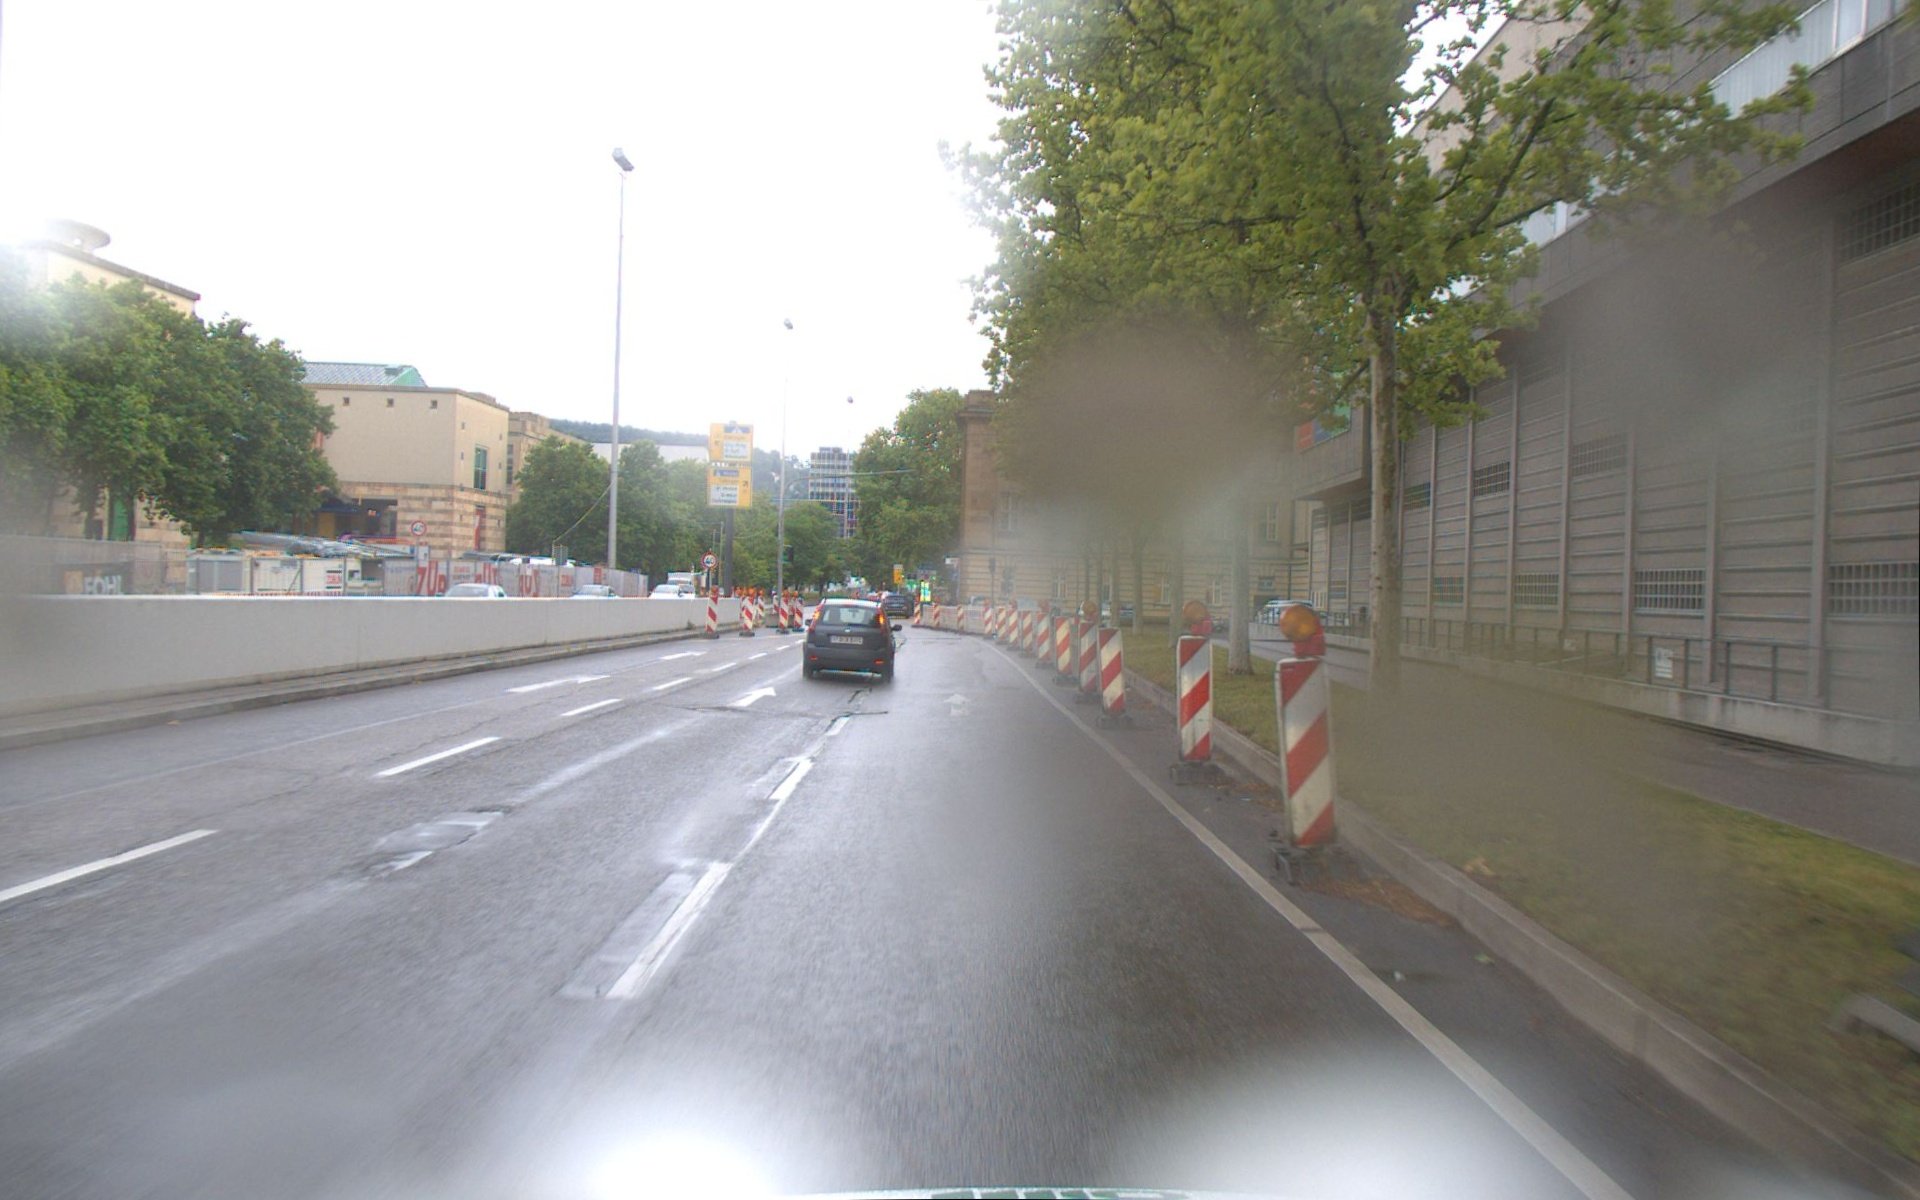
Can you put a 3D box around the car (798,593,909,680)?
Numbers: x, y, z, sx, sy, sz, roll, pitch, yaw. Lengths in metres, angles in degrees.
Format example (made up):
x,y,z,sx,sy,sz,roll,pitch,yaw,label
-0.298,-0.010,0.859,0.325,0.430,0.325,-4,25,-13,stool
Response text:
x,y,z,sx,sy,sz,roll,pitch,yaw,label
-1.942,0.649,31.060,1.635,1.452,3.758,3,0,2,car

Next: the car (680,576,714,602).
x,y,z,sx,sy,sz,roll,pitch,yaw,label
-17.456,-0.744,109.980,1.635,1.548,4.000,4,2,-2,car

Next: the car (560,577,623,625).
x,y,z,sx,sy,sz,roll,pitch,yaw,label
-16.995,0.014,76.478,1.953,2.048,3.999,3,0,-1,car

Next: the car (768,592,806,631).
x,y,z,sx,sy,sz,roll,pitch,yaw,label
-6.578,0.427,63.088,1.358,1.411,3.064,1,0,-5,car

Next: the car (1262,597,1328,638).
x,y,z,sx,sy,sz,roll,pitch,yaw,label
15.421,0.832,76.377,1.953,1.790,5.096,1,-1,0,car

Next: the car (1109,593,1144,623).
x,y,z,sx,sy,sz,roll,pitch,yaw,label
10.502,0.522,104.492,1.952,1.738,4.002,3,-1,4,car

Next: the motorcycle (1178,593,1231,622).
x,y,z,sx,sy,sz,roll,pitch,yaw,label
15.113,0.438,102.312,3.095,1.570,0.890,4,-1,4,motorcycle

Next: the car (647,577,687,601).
x,y,z,sx,sy,sz,roll,pitch,yaw,label
-16.511,-0.602,93.318,1.593,1.216,3.404,3,0,-1,car

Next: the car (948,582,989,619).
x,y,z,sx,sy,sz,roll,pitch,yaw,label
0.406,0.004,83.821,1.953,1.738,4.000,3,1,-1,car

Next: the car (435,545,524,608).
x,y,z,sx,sy,sz,roll,pitch,yaw,label
-17.046,-0.822,58.853,1.953,2.048,3.999,3,0,-1,car

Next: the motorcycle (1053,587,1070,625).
x,y,z,sx,sy,sz,roll,pitch,yaw,label
5.114,0.276,83.406,0.813,1.862,3.144,2,0,3,motorcycle

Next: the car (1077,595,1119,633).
x,y,z,sx,sy,sz,roll,pitch,yaw,label
6.893,0.688,83.029,1.952,1.738,4.002,3,1,4,car

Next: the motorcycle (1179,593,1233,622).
x,y,z,sx,sy,sz,roll,pitch,yaw,label
15.050,0.451,101.284,3.096,1.570,0.890,4,-1,2,motorcycle

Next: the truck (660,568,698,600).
x,y,z,sx,sy,sz,roll,pitch,yaw,label
-23.732,-1.356,139.893,2.366,2.379,5.440,4,-1,-3,truck

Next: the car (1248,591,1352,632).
x,y,z,sx,sy,sz,roll,pitch,yaw,label
14.035,0.483,68.424,3.905,1.587,1.933,0,-2,0,car

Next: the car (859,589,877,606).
x,y,z,sx,sy,sz,roll,pitch,yaw,label
-11.637,-0.315,208.890,1.955,2.049,3.995,4,-1,-5,car

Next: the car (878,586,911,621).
x,y,z,sx,sy,sz,roll,pitch,yaw,label
-4.240,0.210,107.217,1.953,2.048,4.000,3,1,-1,car
